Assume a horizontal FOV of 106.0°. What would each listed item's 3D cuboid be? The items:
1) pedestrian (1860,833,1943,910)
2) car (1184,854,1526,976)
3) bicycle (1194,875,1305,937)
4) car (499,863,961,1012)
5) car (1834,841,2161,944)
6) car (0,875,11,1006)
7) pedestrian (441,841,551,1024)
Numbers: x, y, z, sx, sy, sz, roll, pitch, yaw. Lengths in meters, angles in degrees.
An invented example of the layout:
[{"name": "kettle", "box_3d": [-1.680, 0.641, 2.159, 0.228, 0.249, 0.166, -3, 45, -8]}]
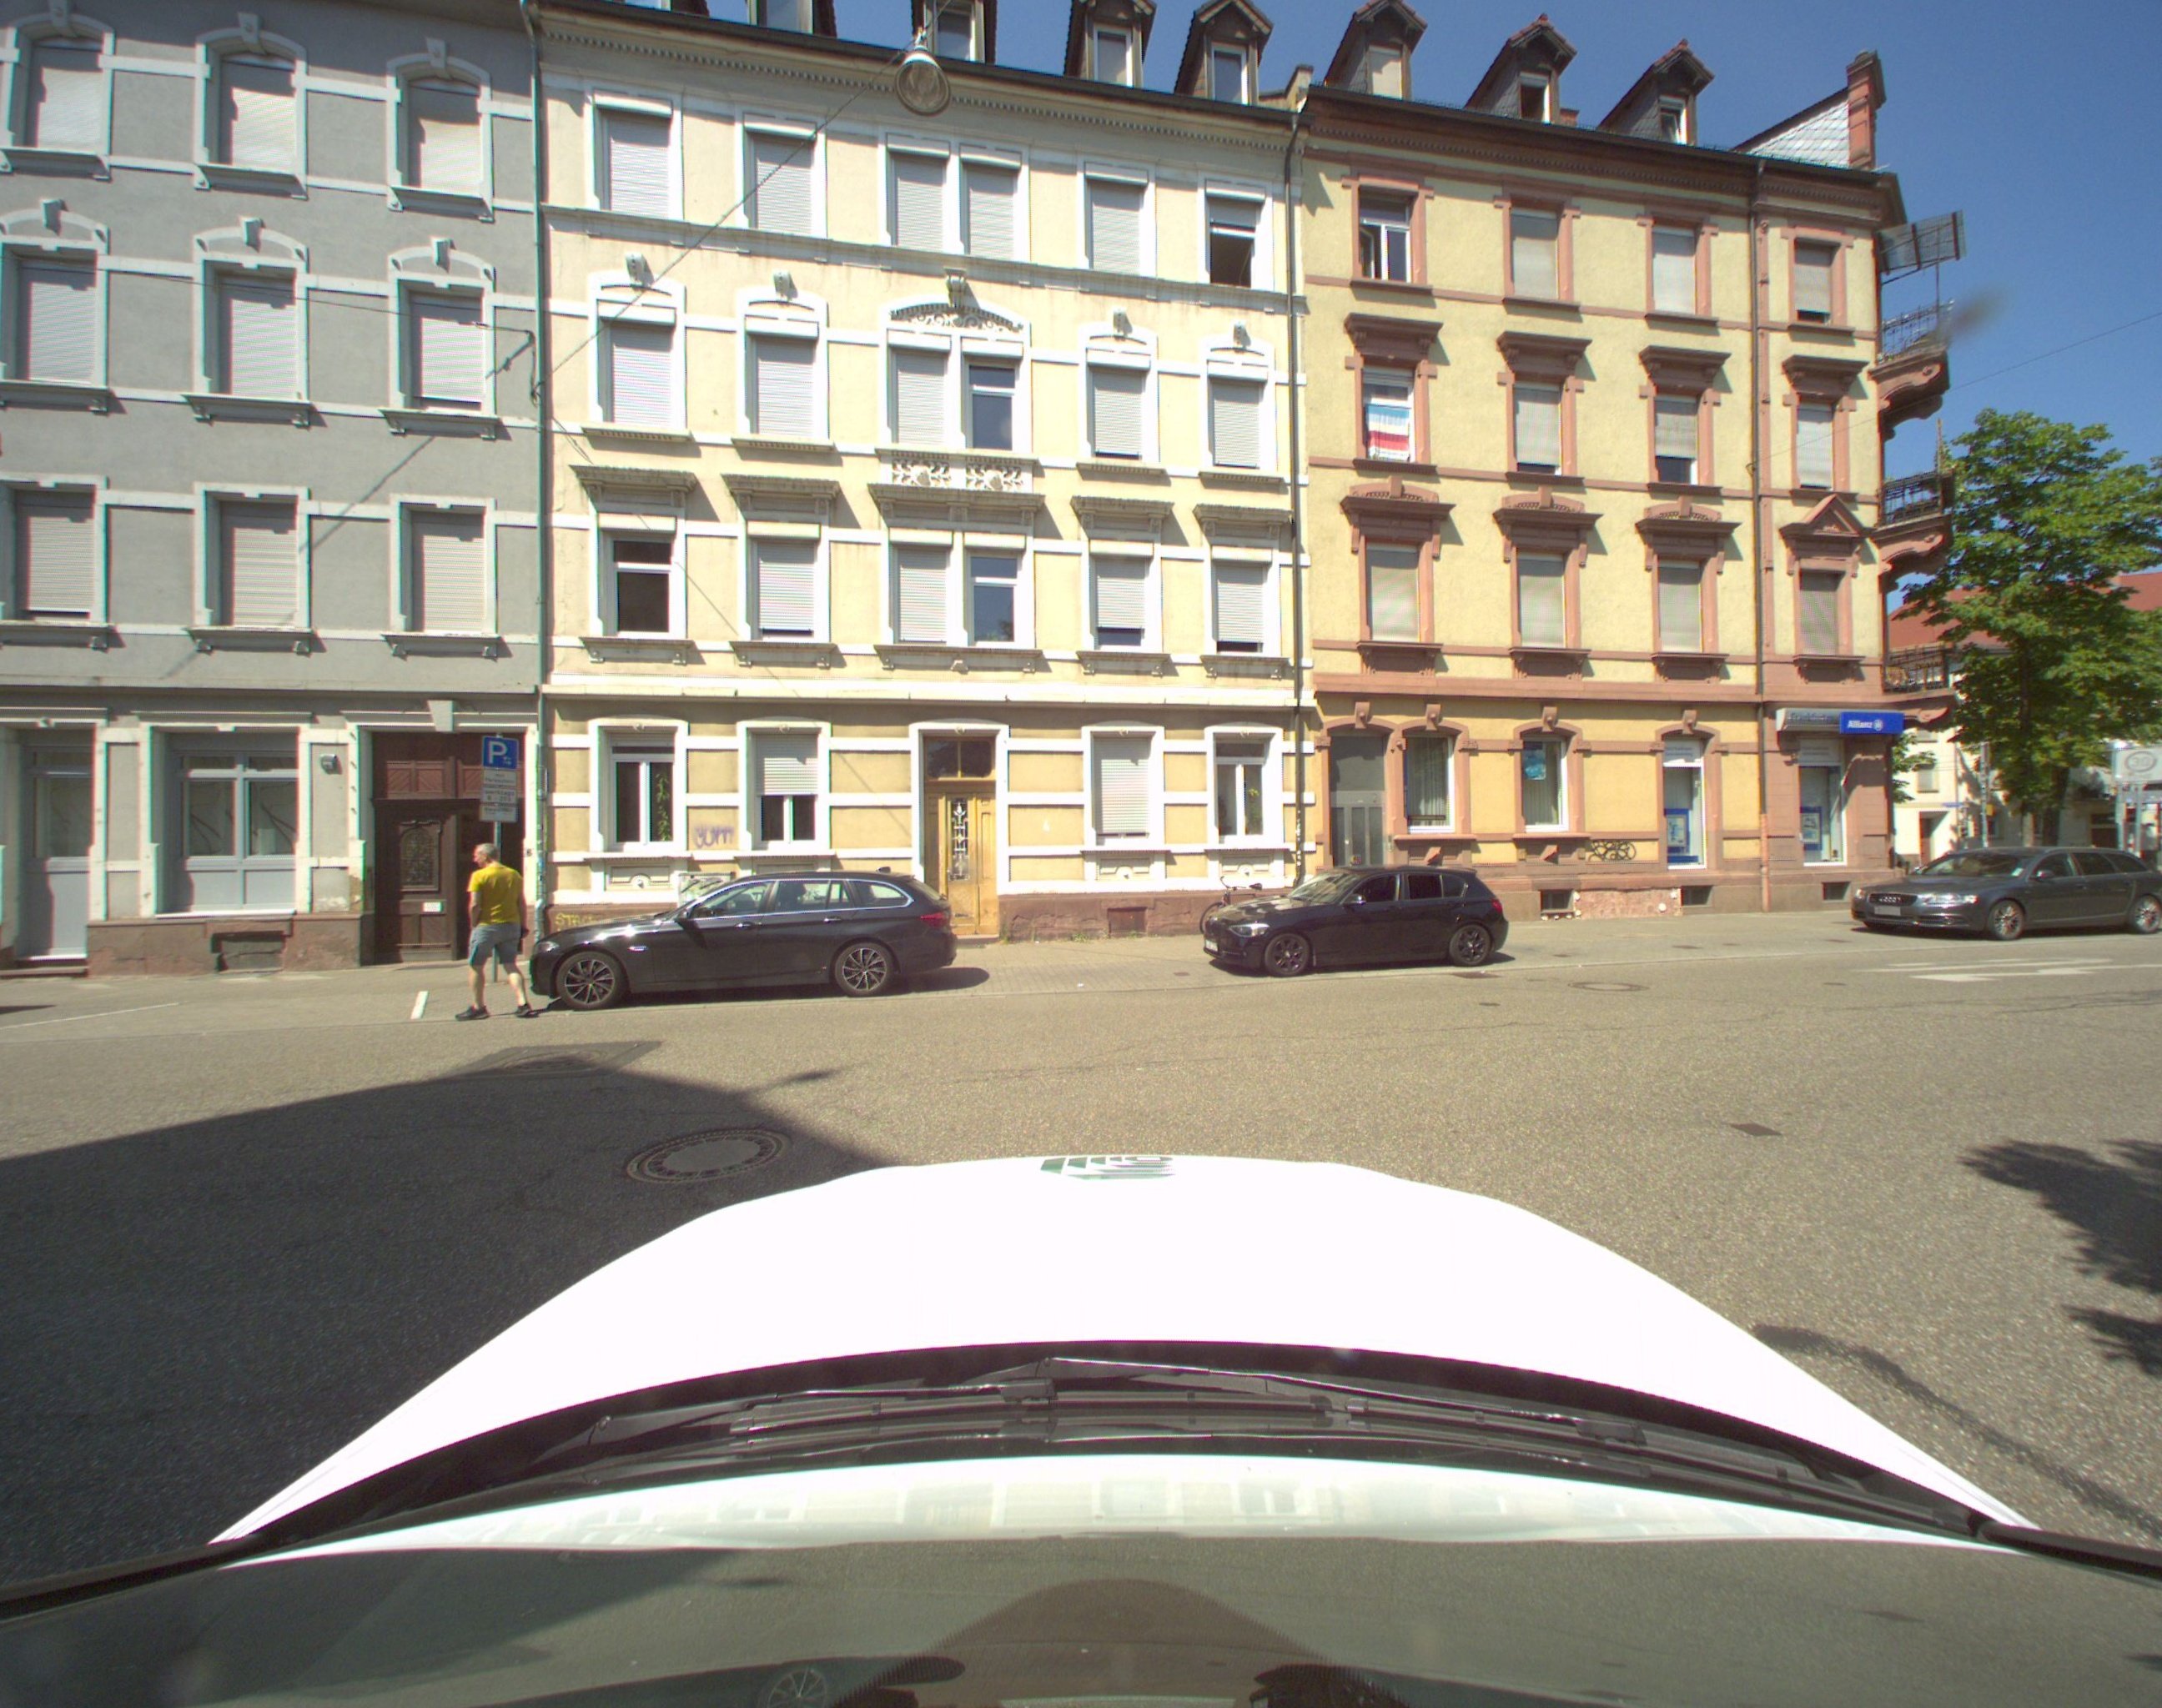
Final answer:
[{"name": "pedestrian", "box_3d": [22.222, 0.465, 22.091, 1.042, 2.014, 1.235, -2, -1, 13]}, {"name": "car", "box_3d": [3.801, 0.772, 11.610, 4.294, 1.370, 1.801, -2, 2, -10]}, {"name": "bicycle", "box_3d": [3.132, 0.949, 15.096, 2.006, 1.021, 0.422, -2, 2, -12]}, {"name": "car", "box_3d": [-3.974, 0.918, 10.125, 4.859, 1.437, 1.993, -2, -1, -10]}, {"name": "car", "box_3d": [15.465, 0.572, 13.691, 4.422, 1.455, 1.801, -2, 0, -10]}, {"name": "car", "box_3d": [-14.792, 1.087, 8.585, 4.048, 1.562, 1.800, -2, -1, -11]}, {"name": "pedestrian", "box_3d": [-6.263, 0.808, 8.726, 0.717, 1.853, 0.689, -2, -1, 30]}]
